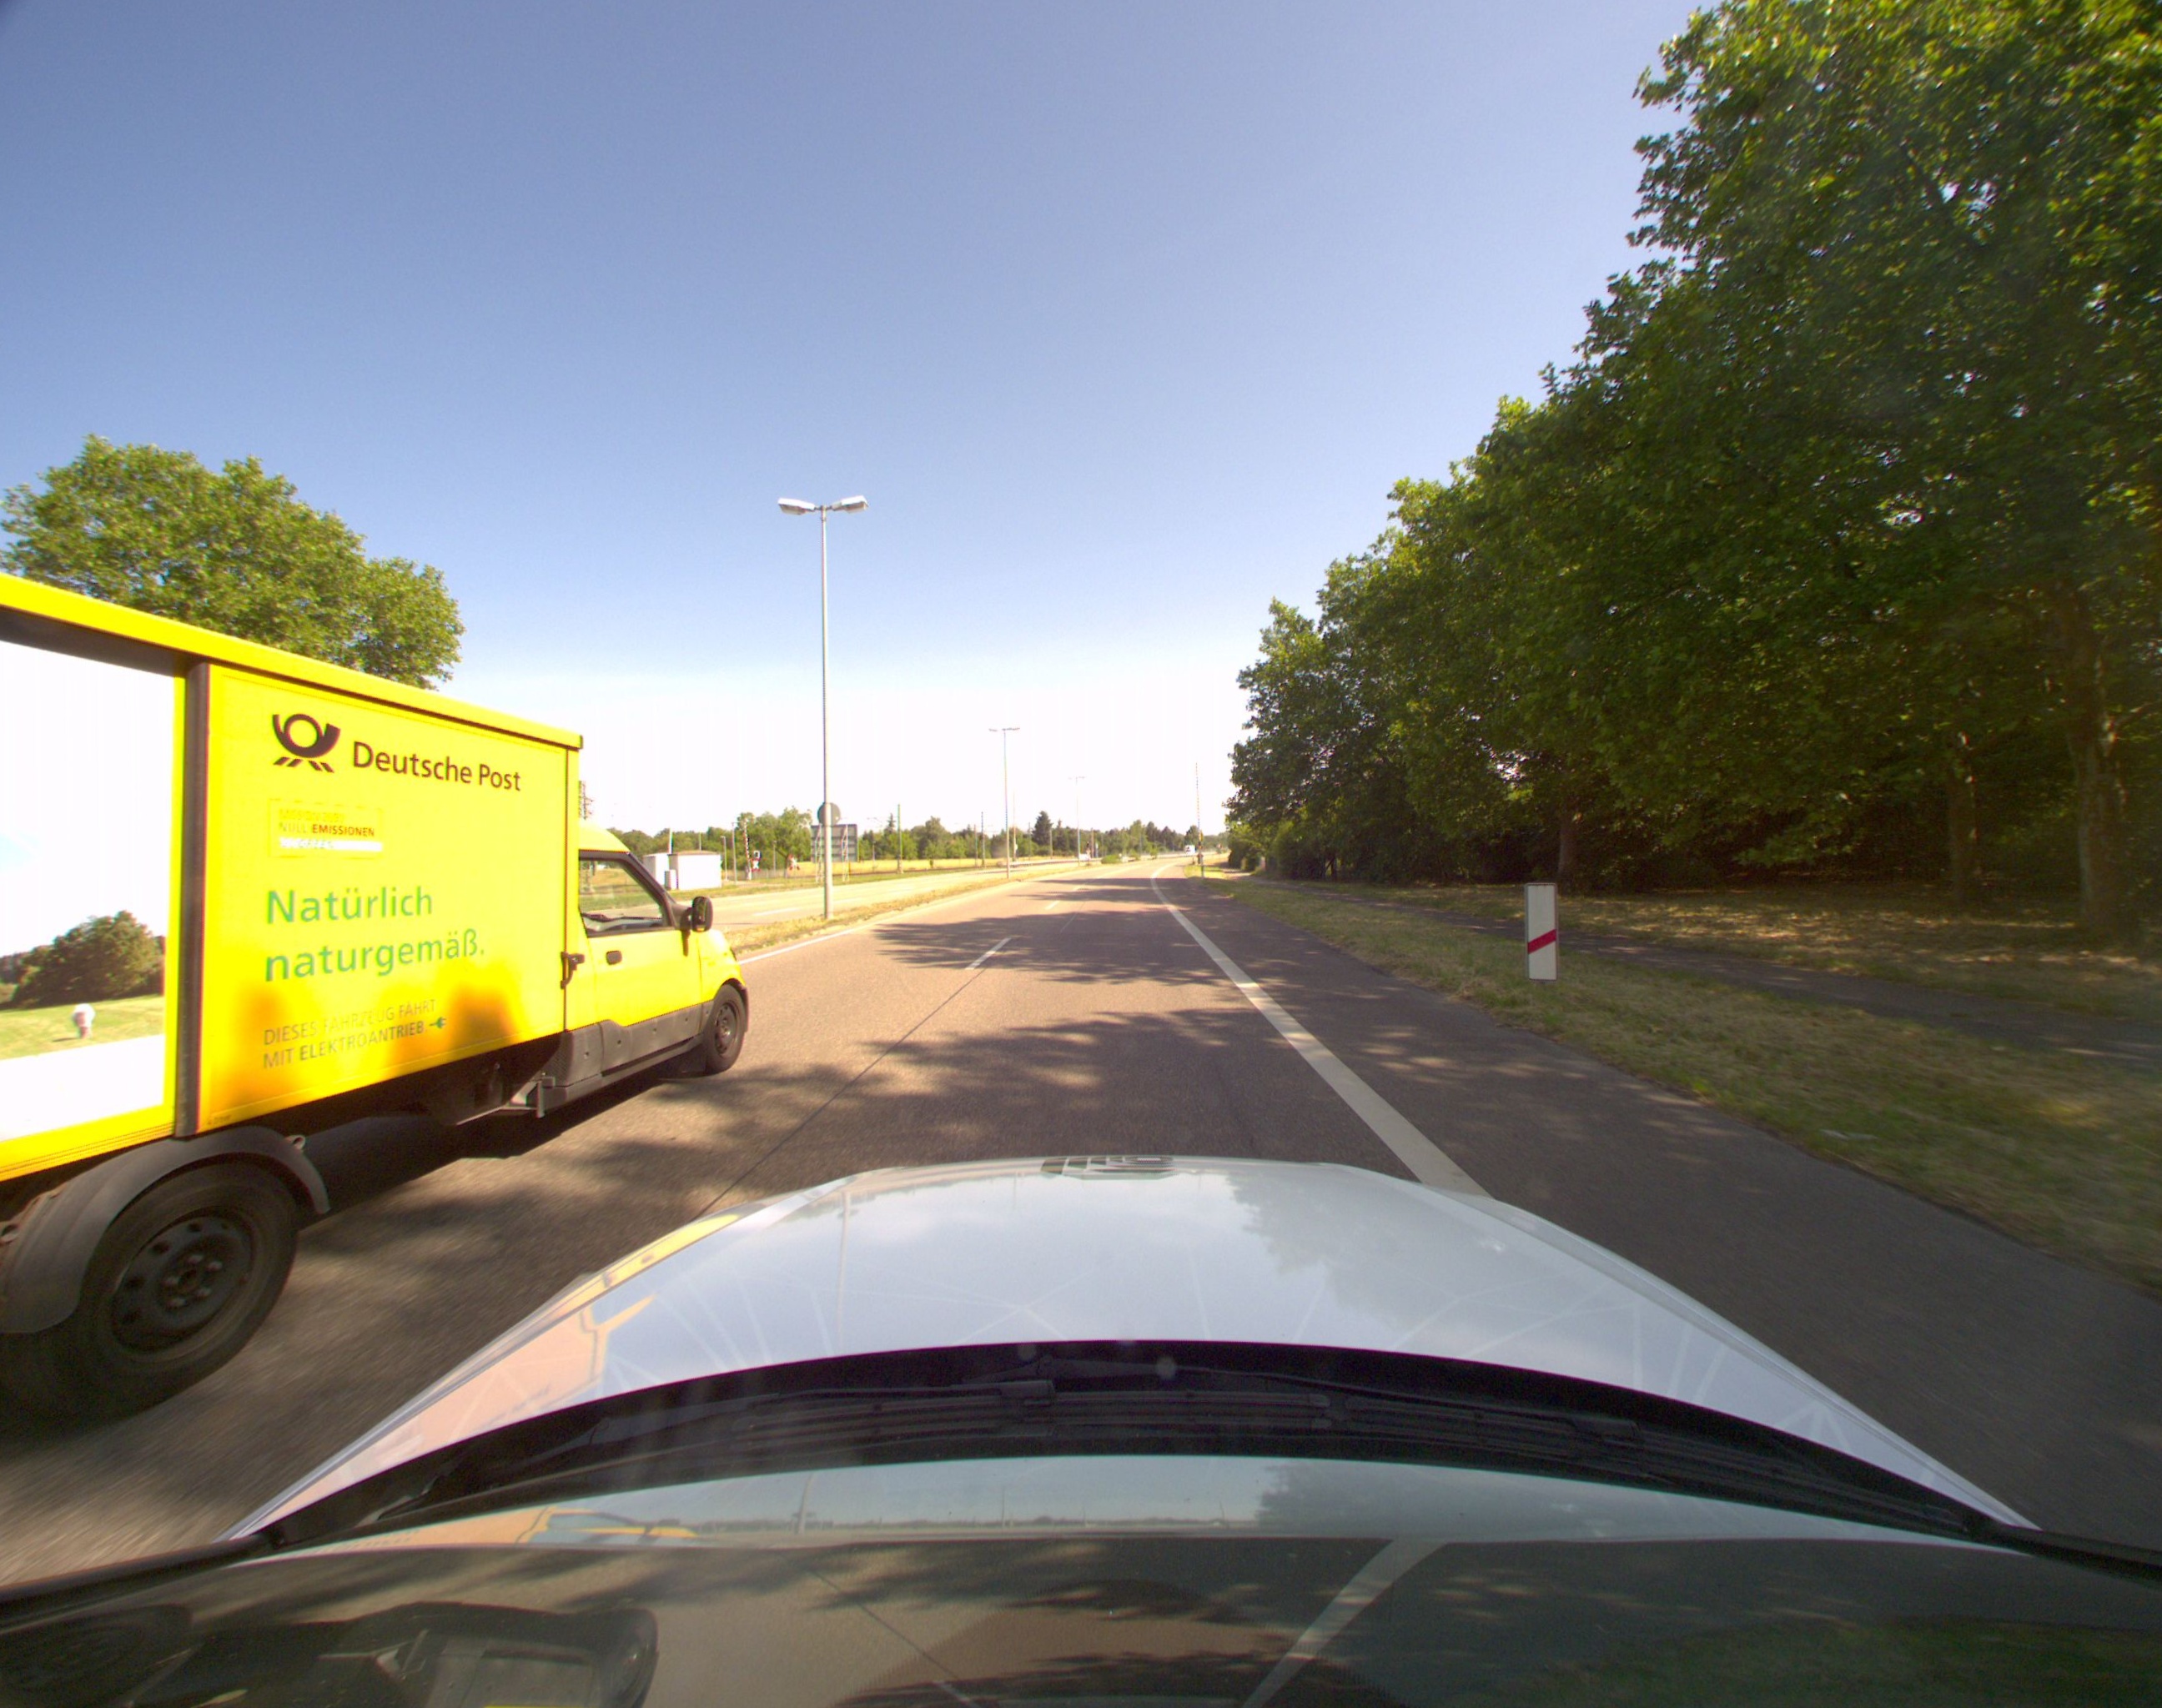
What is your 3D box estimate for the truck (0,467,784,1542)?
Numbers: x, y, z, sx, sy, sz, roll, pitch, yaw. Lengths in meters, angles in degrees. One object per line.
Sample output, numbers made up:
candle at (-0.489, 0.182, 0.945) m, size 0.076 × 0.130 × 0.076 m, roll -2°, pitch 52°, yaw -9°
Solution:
truck at (-3.516, 0.353, 3.683) m, size 2.105 × 2.457 × 5.916 m, roll -1°, pitch 0°, yaw 0°
